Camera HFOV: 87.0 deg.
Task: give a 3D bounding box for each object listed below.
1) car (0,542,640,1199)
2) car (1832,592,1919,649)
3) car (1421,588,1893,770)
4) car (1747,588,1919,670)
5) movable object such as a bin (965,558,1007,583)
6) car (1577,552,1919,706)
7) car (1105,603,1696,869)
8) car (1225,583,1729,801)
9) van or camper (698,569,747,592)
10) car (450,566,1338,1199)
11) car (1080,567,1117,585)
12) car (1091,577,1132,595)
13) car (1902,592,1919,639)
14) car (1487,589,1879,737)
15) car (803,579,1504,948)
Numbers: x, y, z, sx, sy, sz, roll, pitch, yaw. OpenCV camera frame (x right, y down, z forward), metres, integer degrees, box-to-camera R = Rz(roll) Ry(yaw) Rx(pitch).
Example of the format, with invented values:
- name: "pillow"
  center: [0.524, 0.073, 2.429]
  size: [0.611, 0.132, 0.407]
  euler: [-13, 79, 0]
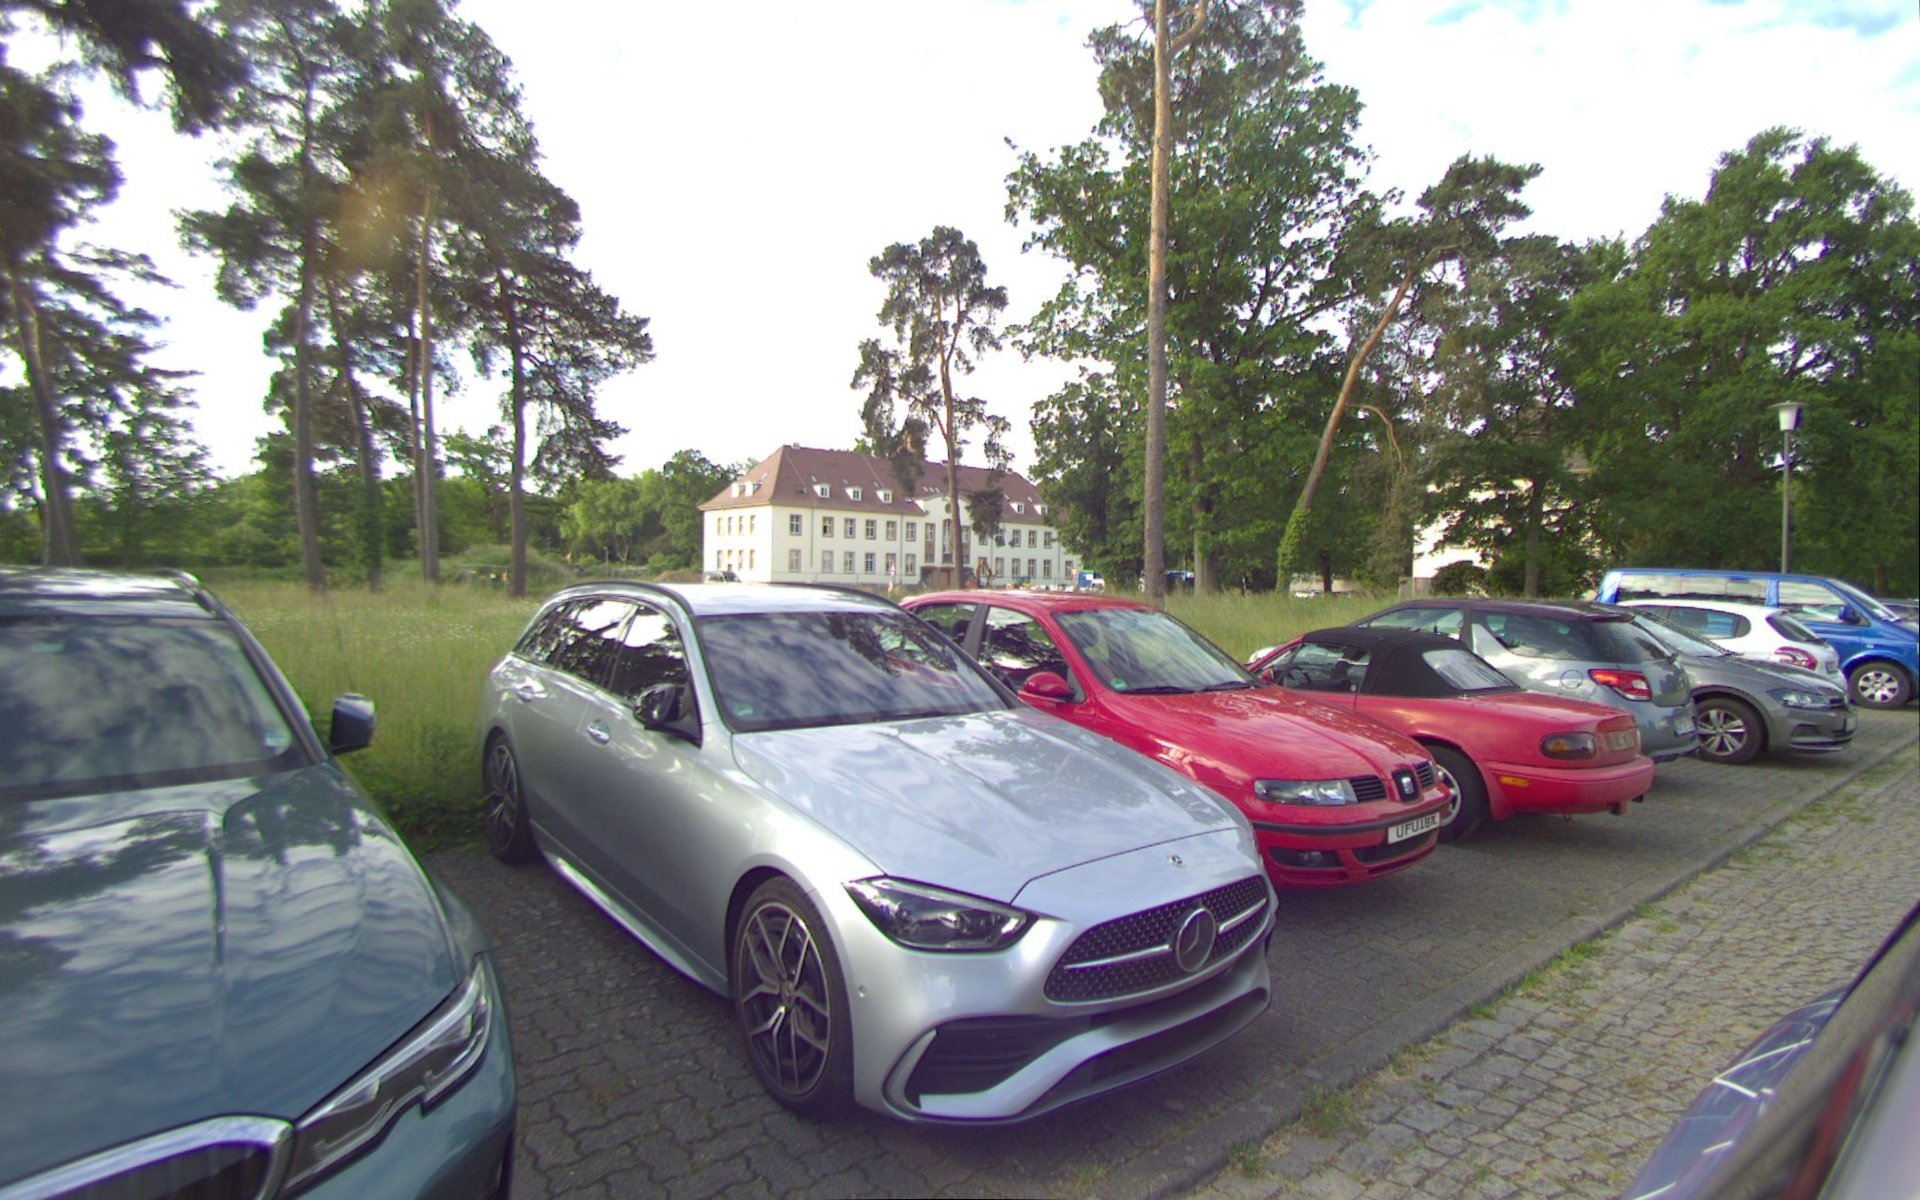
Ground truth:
- name: "car"
  center: [-2.735, 0.613, 2.883]
  size: [1.776, 1.501, 4.520]
  euler: [0, 2, -42]
- name: "car"
  center: [27.222, 0.597, 28.533]
  size: [1.554, 1.544, 3.833]
  euler: [0, 2, -43]
- name: "car"
  center: [7.107, 0.664, 10.665]
  size: [1.612, 1.484, 3.783]
  euler: [0, 1, -37]
- name: "car"
  center: [19.537, 0.593, 21.832]
  size: [1.554, 1.621, 3.833]
  euler: [0, 1, -43]
- name: "movable object such as a bin"
  center: [3.083, -3.483, 118.710]
  size: [5.119, 2.802, 1.995]
  euler: [0, 1, -45]
- name: "car"
  center: [13.104, 0.347, 16.302]
  size: [2.023, 2.047, 4.956]
  euler: [0, 3, -38]
- name: "car"
  center: [2.903, 0.740, 7.269]
  size: [1.578, 1.303, 3.556]
  euler: [2, 1, -38]
- name: "car"
  center: [4.535, 0.646, 9.353]
  size: [1.576, 1.522, 3.837]
  euler: [0, 1, -39]
- name: "van or camper"
  center: [-24.197, -2.006, 102.974]
  size: [6.064, 2.251, 1.968]
  euler: [2, 2, 44]
- name: "car"
  center: [-0.778, 0.623, 4.558]
  size: [1.736, 1.446, 4.335]
  euler: [0, 2, -40]
- name: "car"
  center: [16.417, -2.806, 120.062]
  size: [3.924, 2.039, 2.220]
  euler: [0, 1, -35]
- name: "car"
  center: [15.193, -1.404, 101.270]
  size: [3.863, 1.704, 1.849]
  euler: [0, 3, -37]
- name: "car"
  center: [35.264, 0.610, 34.878]
  size: [1.551, 1.638, 3.841]
  euler: [0, 1, -35]
- name: "car"
  center: [9.011, 0.667, 12.883]
  size: [1.552, 1.517, 3.763]
  euler: [0, 1, -37]
- name: "car"
  center: [0.815, 0.625, 6.221]
  size: [1.688, 1.441, 4.118]
  euler: [0, 1, -39]
